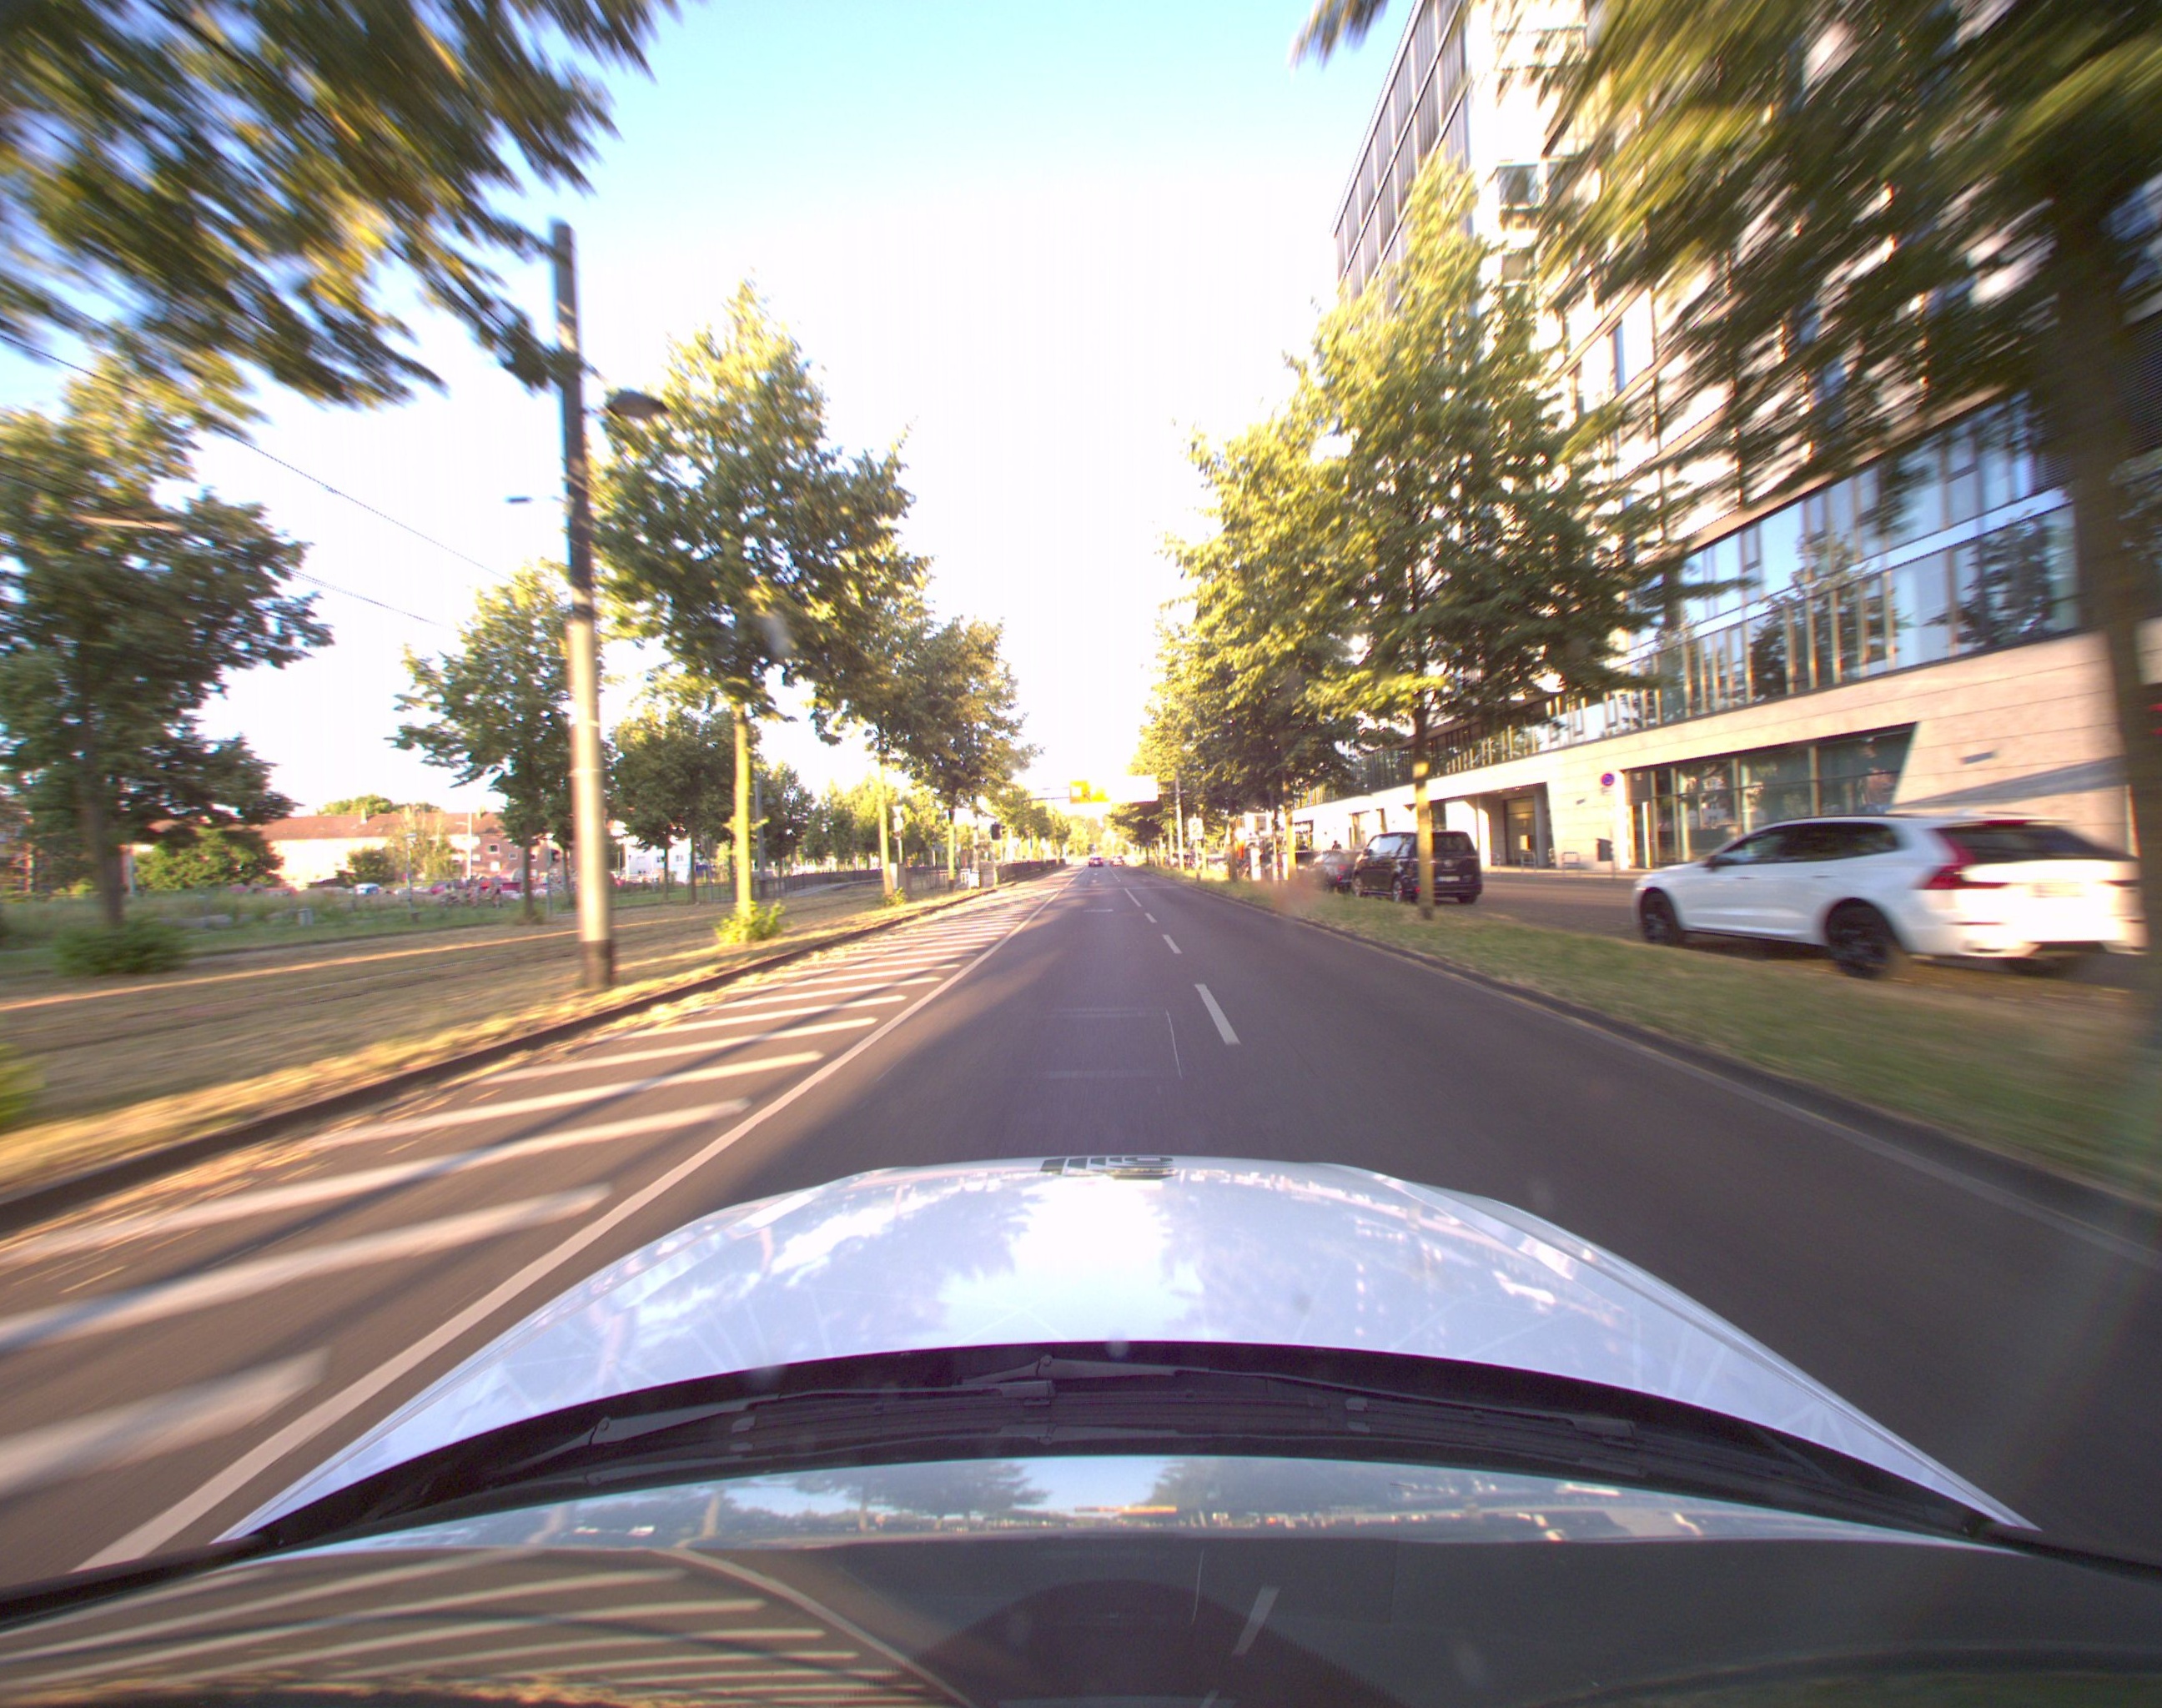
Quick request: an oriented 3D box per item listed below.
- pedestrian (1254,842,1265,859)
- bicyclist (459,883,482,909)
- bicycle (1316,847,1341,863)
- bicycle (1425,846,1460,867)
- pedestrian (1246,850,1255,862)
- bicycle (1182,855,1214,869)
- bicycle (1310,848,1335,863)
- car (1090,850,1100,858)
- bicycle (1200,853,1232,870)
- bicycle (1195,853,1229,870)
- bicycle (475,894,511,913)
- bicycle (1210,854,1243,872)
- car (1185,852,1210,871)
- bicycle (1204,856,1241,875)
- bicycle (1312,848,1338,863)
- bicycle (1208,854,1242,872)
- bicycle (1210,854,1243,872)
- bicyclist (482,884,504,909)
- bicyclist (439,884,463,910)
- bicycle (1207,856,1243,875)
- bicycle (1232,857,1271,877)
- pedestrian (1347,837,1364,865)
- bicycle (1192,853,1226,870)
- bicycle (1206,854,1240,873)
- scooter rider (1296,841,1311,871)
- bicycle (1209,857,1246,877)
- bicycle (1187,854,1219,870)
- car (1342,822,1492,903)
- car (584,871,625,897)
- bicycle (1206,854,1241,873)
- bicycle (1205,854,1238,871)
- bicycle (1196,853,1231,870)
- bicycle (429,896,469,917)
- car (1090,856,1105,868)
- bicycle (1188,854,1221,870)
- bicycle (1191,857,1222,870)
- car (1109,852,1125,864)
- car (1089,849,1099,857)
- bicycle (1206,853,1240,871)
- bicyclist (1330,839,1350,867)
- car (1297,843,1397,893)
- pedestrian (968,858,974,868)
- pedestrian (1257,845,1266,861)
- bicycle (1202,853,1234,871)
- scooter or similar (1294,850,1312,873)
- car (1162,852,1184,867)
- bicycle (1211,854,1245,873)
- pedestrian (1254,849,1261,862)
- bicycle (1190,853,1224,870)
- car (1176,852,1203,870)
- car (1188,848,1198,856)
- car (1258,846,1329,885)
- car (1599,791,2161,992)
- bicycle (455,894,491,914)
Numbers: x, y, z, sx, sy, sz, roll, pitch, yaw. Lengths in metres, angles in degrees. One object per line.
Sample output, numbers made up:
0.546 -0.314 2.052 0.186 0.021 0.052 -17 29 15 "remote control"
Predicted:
18.640 -0.365 85.094 0.707 1.737 0.683 -2 0 -29 "pedestrian"
-36.286 2.500 48.402 0.617 1.456 0.937 -3 0 -1 "bicyclist"
19.026 0.088 62.564 1.780 1.104 0.508 -3 -1 -4 "bicycle"
18.640 0.138 42.038 1.569 0.987 0.404 -3 0 1 "bicycle"
18.594 0.176 89.104 0.628 1.283 0.712 -2 0 -21 "pedestrian"
8.131 0.571 56.648 2.139 0.939 0.442 1 0 -6 "bicycle"
18.926 0.146 63.855 1.780 1.104 0.508 -3 -1 -4 "bicycle"
2.644 -0.008 153.273 1.905 1.486 4.000 -3 0 0 "car"
8.542 0.500 51.645 1.939 1.054 0.403 1 0 -6 "bicycle"
8.519 0.507 53.043 2.139 1.054 0.561 1 0 -6 "bicycle"
-35.213 2.952 48.810 0.617 1.011 2.082 -3 0 -1 "bicycle"
8.582 0.534 48.084 1.939 1.054 0.314 1 0 -7 "bicycle"
9.556 0.601 67.264 1.569 1.472 3.883 -3 0 2 "car"
7.873 0.643 45.312 1.944 1.054 0.542 1 0 -14 "bicycle"
18.926 0.107 63.184 1.780 1.104 0.508 -3 -1 -4 "bicycle"
8.648 0.516 48.919 1.939 1.054 0.413 1 0 -7 "bicycle"
8.657 0.527 48.457 1.939 1.054 0.347 1 0 -7 "bicycle"
-35.237 2.551 48.803 0.617 1.456 0.937 -3 0 -1 "bicyclist"
-36.014 2.444 46.573 0.617 1.421 0.937 -3 0 -1 "bicyclist"
8.129 0.650 46.050 1.942 1.054 0.543 1 0 -10 "bicycle"
9.107 0.699 43.522 1.935 1.054 0.545 1 0 0 "bicycle"
16.633 -0.166 49.446 0.640 1.648 0.953 -3 0 0 "pedestrian"
8.473 0.502 53.738 2.139 1.054 0.570 1 0 -6 "bicycle"
8.232 0.560 47.201 1.939 1.054 0.408 1 0 -7 "bicycle"
12.619 0.099 46.187 0.524 1.638 0.831 -3 0 -1 "scooter rider"
8.022 0.706 44.739 1.944 1.054 0.542 1 0 -14 "bicycle"
8.309 0.513 55.339 2.139 1.054 0.300 1 0 -6 "bicycle"
8.816 0.213 21.888 1.988 1.852 4.663 -3 0 -1 "car"
-45.057 2.780 77.125 2.426 2.224 5.873 -2 0 -23 "car"
8.162 0.544 46.679 1.939 1.054 0.544 1 0 -7 "bicycle"
8.612 0.531 50.029 1.939 1.054 0.413 1 0 -7 "bicycle"
8.518 0.507 52.287 2.139 1.054 0.570 1 0 -6 "bicycle"
-35.982 2.975 46.405 0.617 1.011 2.082 -3 0 -1 "bicycle"
2.281 1.102 111.802 1.905 1.486 4.000 -3 0 0 "car"
8.349 0.516 54.890 2.139 1.054 0.524 1 0 -6 "bicycle"
9.018 0.691 58.666 2.139 0.939 0.442 1 0 -6 "bicycle"
4.812 0.508 109.938 1.905 1.486 4.000 -2 0 0 "car"
2.704 -0.210 169.911 1.905 1.486 4.000 -3 0 0 "car"
8.626 0.510 49.457 1.939 1.054 0.413 1 0 -7 "bicycle"
15.106 -0.048 47.599 0.770 1.566 0.991 -3 0 -1 "bicyclist"
9.004 0.445 28.032 1.804 1.471 4.663 -3 0 -1 "car"
-14.896 1.260 110.037 0.613 1.319 0.744 -3 0 -2 "pedestrian"
19.897 -0.075 89.600 0.636 1.718 0.695 -2 0 -19 "pedestrian"
8.601 0.499 51.204 1.939 1.054 0.403 1 0 -6 "bicycle"
12.611 0.423 46.302 0.524 1.310 1.663 -3 0 -1 "scooter or similar"
10.086 0.612 89.424 1.752 1.466 4.156 -3 0 -1 "car"
8.587 0.547 47.679 1.939 1.054 0.408 1 0 -7 "bicycle"
19.240 0.166 88.744 0.577 1.283 0.738 -3 0 -3 "pedestrian"
8.416 0.501 54.323 2.139 1.054 0.524 1 0 -6 "bicycle"
9.857 0.639 74.205 1.772 1.472 4.287 -3 0 -1 "car"
27.944 -0.504 203.420 1.979 1.728 4.015 -3 0 13 "car"
8.882 0.458 34.401 1.862 1.411 4.648 -3 0 2 "car"
8.567 0.326 9.485 1.986 1.642 4.880 -3 0 1 "car"
-36.256 2.970 48.591 0.617 1.011 2.082 -3 0 -1 "bicycle"
